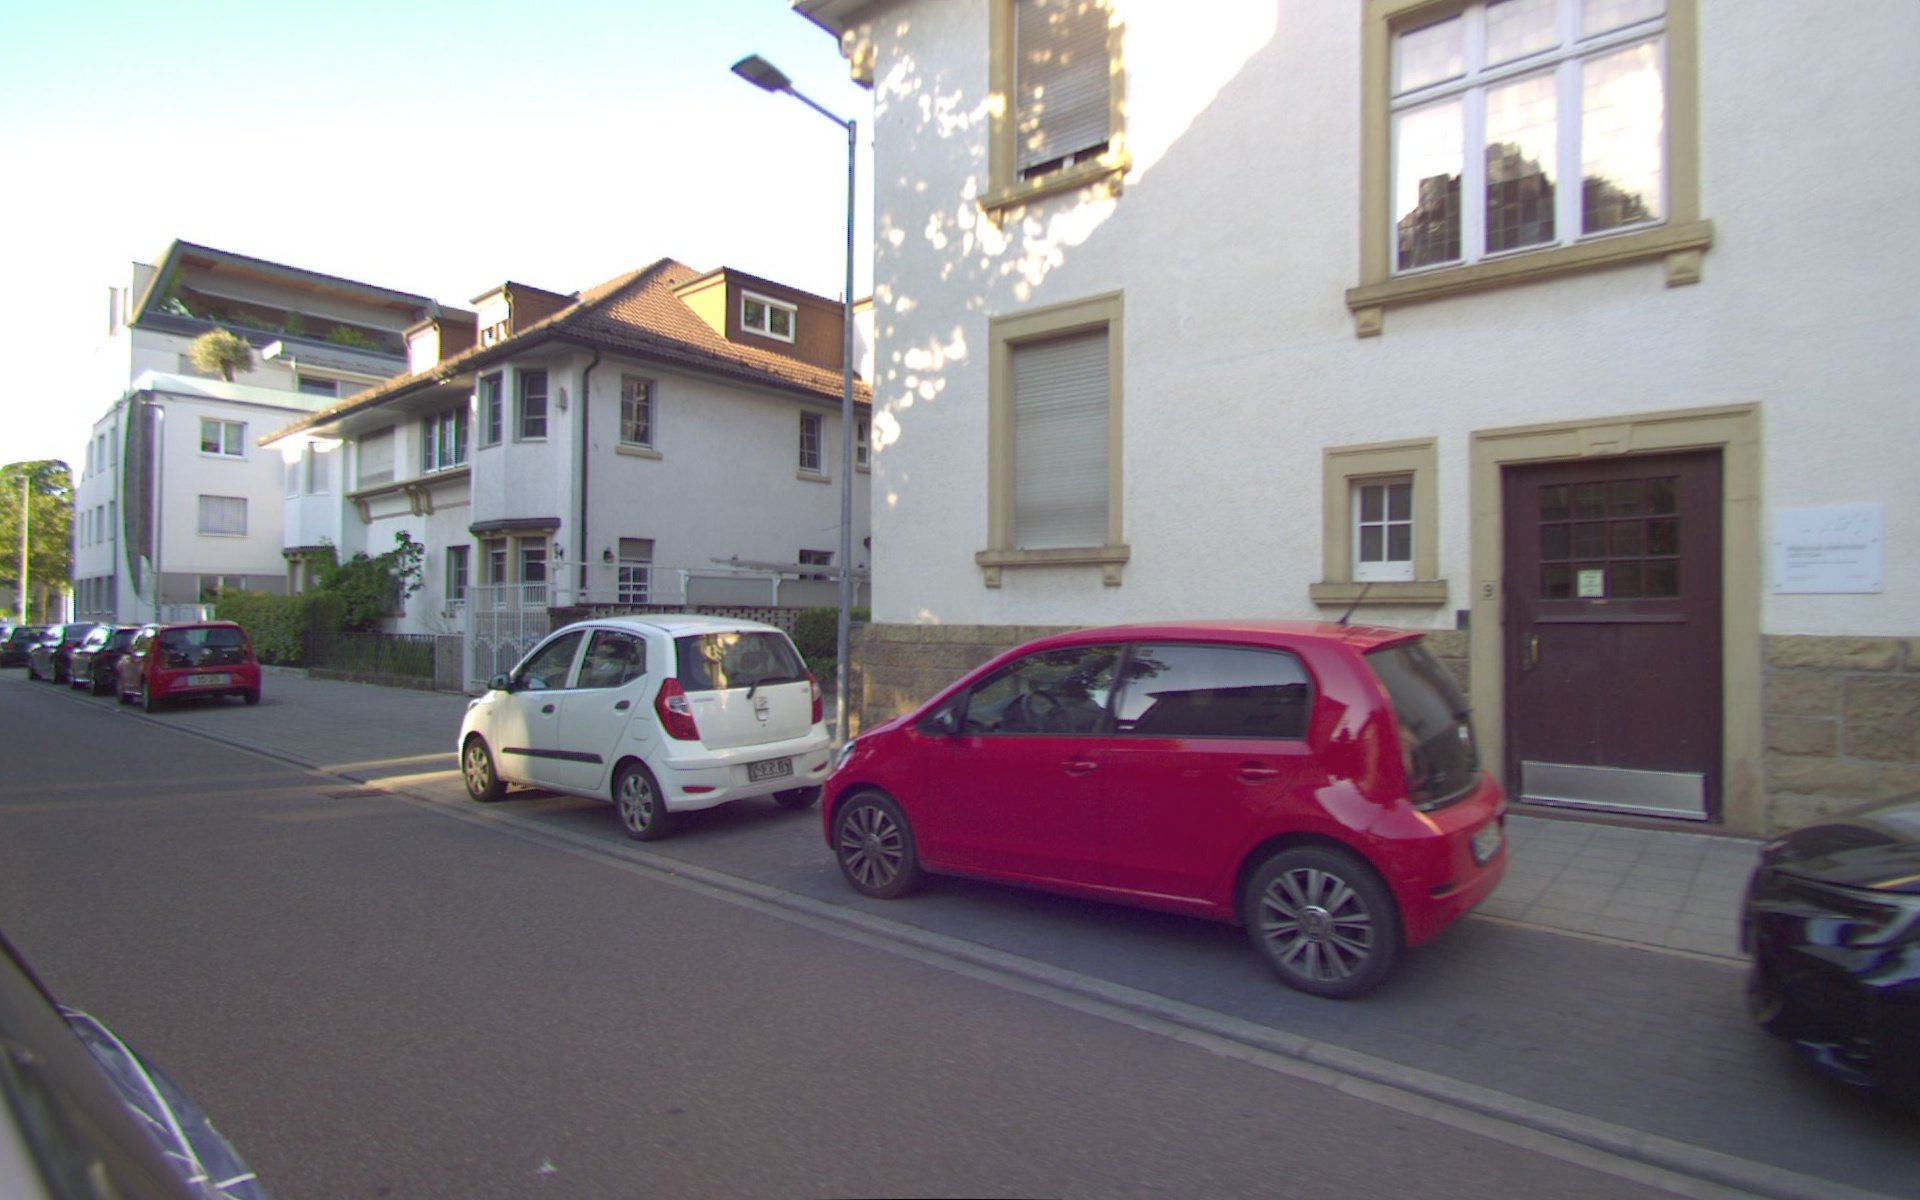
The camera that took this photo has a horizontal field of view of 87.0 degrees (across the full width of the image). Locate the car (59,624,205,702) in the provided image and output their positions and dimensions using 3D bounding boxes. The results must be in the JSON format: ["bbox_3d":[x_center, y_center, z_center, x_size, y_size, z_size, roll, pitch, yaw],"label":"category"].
[{"bbox_3d":[-17.805,1.268,21.683,4.376,1.470,1.720,-1,0,41],"label":"car"}]

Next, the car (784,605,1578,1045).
[{"bbox_3d":[0.937,0.802,5.238,3.701,1.488,1.566,-1,0,38],"label":"car"}]

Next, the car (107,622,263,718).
[{"bbox_3d":[-13.845,1.161,18.029,3.428,1.494,1.633,-1,0,43],"label":"car"}]

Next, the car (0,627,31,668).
[{"bbox_3d":[-35.016,1.710,36.629,3.907,1.405,1.700,-2,0,42],"label":"car"}]

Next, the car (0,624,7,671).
[{"bbox_3d":[-42.348,2.041,43.333,4.197,1.963,1.888,-1,0,42],"label":"car"}]

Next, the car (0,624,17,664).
[{"bbox_3d":[-38.929,1.758,40.311,3.907,1.509,1.700,-2,0,42],"label":"car"}]

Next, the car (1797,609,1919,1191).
[{"bbox_3d":[4.550,0.740,1.846,4.628,1.465,1.636,-1,0,41],"label":"car"}]

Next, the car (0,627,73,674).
[{"bbox_3d":[-30.685,1.613,33.392,3.907,1.405,1.700,-2,0,42],"label":"car"}]

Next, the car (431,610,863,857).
[{"bbox_3d":[-2.654,0.875,8.169,3.703,1.532,1.565,-1,0,40],"label":"car"}]

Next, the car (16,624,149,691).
[{"bbox_3d":[-22.085,1.376,25.408,4.559,1.470,1.721,-1,0,39],"label":"car"}]
